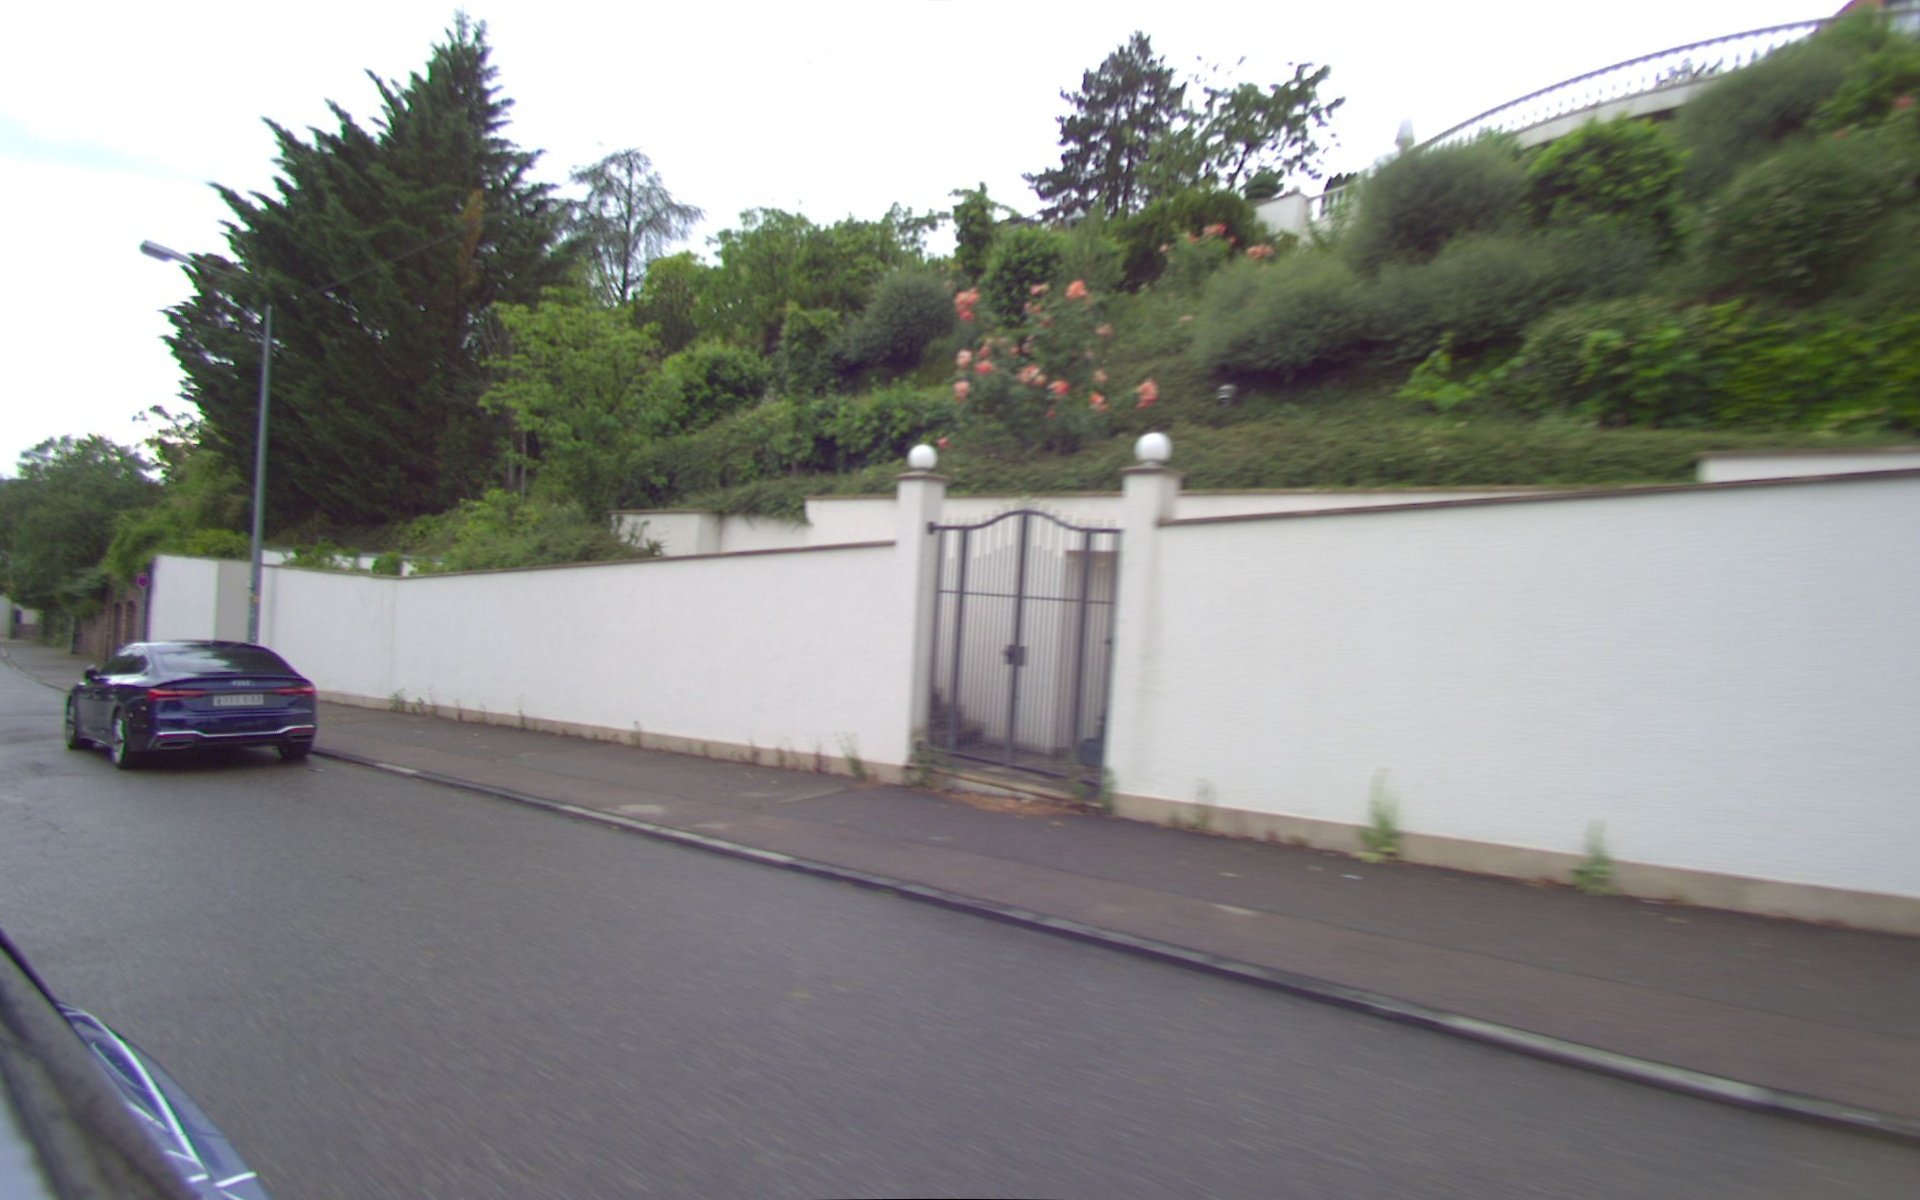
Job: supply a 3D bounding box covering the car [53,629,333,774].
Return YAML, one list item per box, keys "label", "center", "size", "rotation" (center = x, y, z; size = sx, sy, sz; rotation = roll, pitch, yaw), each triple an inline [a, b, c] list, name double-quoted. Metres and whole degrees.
- label: "car"
  center: [-9.347, 1.084, 12.212]
  size: [4.251, 1.441, 1.789]
  rotation: [-1, -3, 40]
